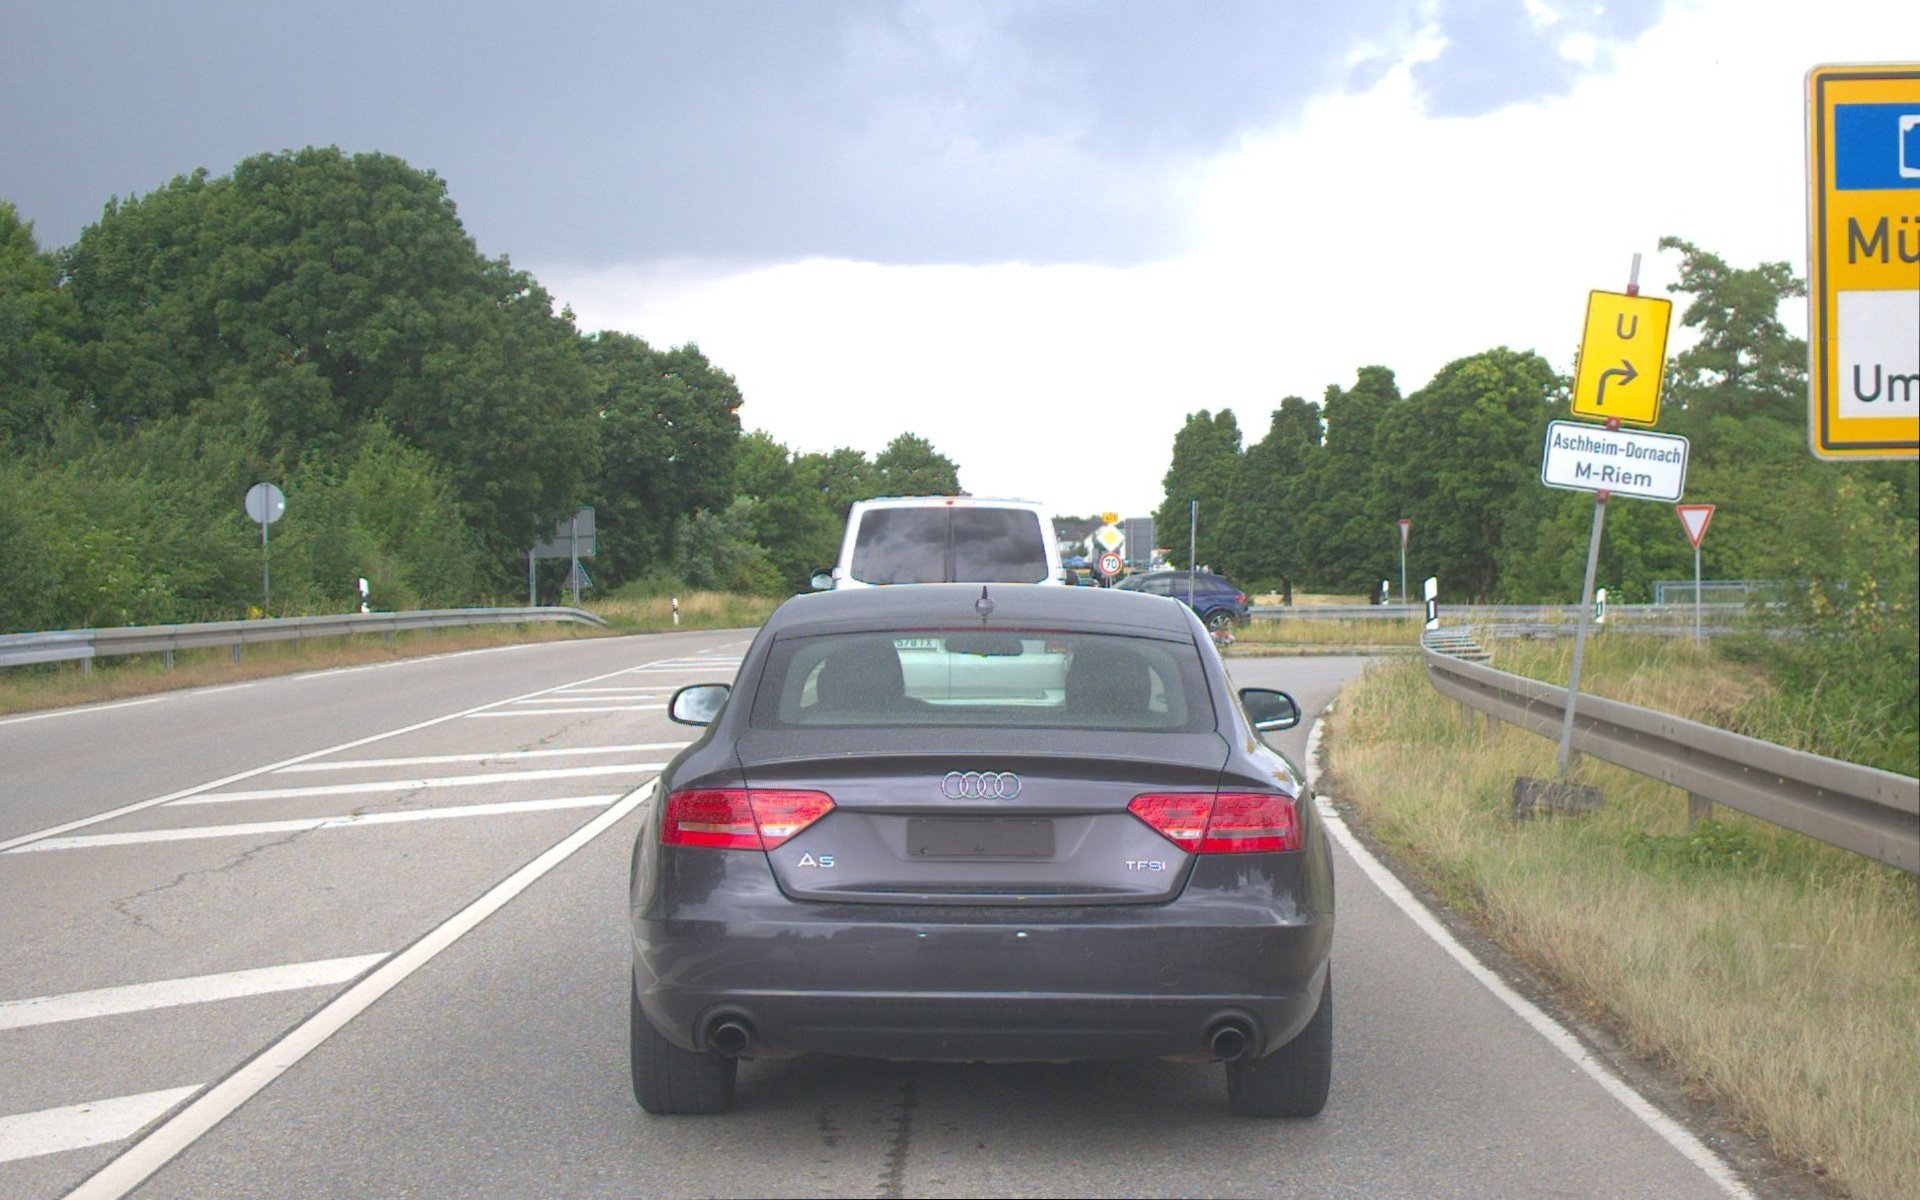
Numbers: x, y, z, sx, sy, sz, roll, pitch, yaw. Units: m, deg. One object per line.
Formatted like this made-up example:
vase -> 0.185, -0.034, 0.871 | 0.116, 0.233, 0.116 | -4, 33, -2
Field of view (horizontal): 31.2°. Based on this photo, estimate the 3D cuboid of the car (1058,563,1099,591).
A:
car -> 6.977, -1.354, 202.275 | 2.205, 1.577, 4.379 | 1, 1, 0

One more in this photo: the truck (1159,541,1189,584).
truck -> 14.860, -2.611, 239.339 | 1.994, 2.908, 5.792 | 1, 1, 3

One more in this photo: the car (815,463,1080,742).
car -> -0.104, -0.020, 27.012 | 1.910, 2.007, 4.000 | 1, 1, 0

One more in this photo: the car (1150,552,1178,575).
car -> 15.265, -2.746, 257.707 | 1.994, 1.686, 4.000 | 1, 1, 2

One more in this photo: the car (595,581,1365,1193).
car -> 0.028, 0.658, 9.638 | 1.779, 1.394, 3.337 | 0, 1, -1

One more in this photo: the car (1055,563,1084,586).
car -> 7.209, -1.663, 226.782 | 1.734, 1.449, 4.000 | 1, 1, -1
